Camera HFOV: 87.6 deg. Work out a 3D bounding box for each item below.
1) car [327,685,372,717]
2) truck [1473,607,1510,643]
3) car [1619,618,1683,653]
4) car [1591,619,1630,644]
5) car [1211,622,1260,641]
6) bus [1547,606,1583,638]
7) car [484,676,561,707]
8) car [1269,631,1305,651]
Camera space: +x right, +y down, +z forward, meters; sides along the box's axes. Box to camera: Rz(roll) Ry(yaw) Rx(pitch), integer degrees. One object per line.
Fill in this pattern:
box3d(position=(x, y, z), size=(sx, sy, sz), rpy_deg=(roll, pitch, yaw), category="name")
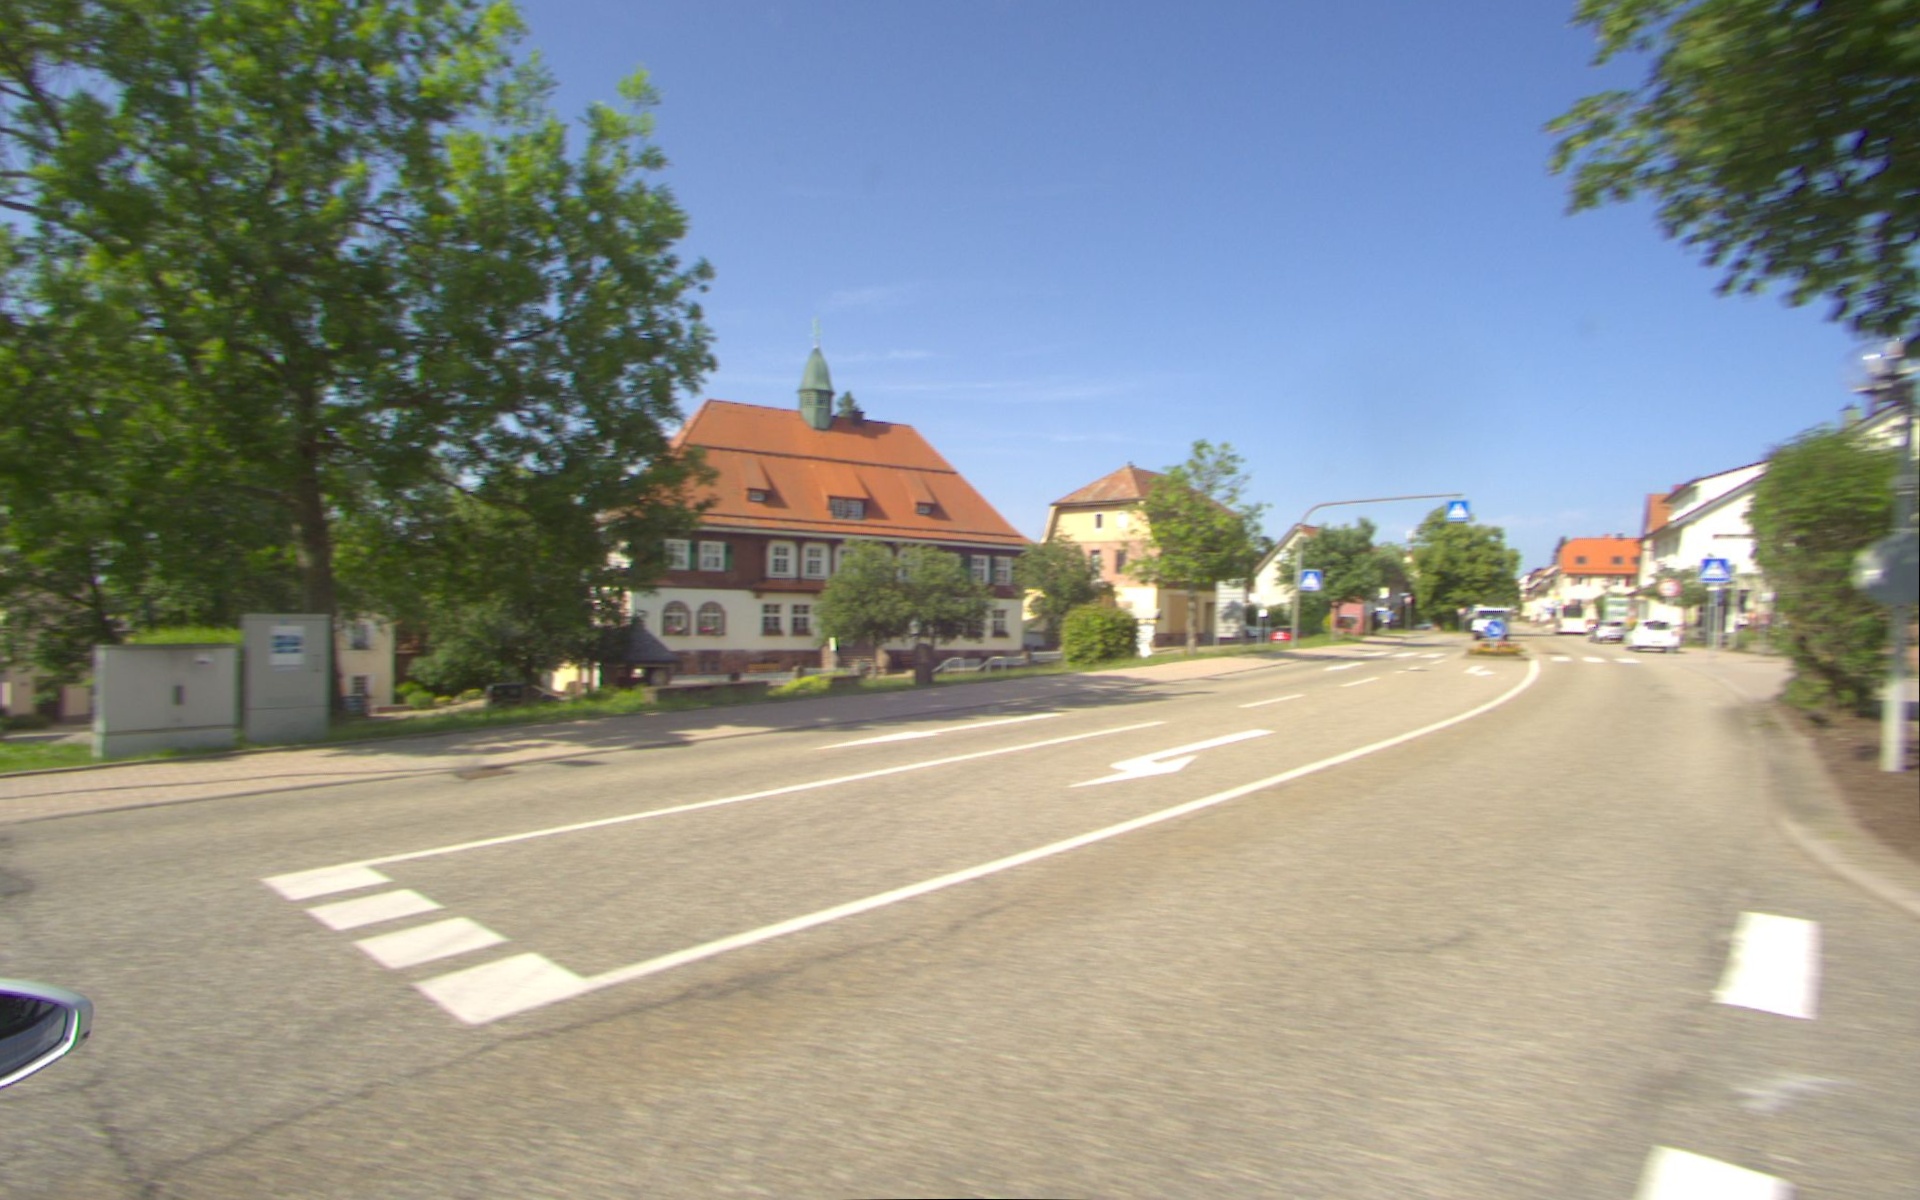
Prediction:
box3d(position=(-34.308, 5.653, 56.244), size=(1.694, 1.561, 3.757), rpy_deg=(-1, -2, -39), category="car")
box3d(position=(36.838, 1.697, 69.322), size=(1.971, 2.372, 6.463), rpy_deg=(0, -1, 31), category="truck")
box3d(position=(31.148, 1.603, 45.245), size=(1.748, 1.486, 3.702), rpy_deg=(-3, -3, 25), category="car")
box3d(position=(39.880, 1.943, 61.451), size=(1.751, 1.451, 3.696), rpy_deg=(-3, -3, 30), category="car")
box3d(position=(24.013, 2.775, 87.273), size=(3.664, 1.451, 1.766), rpy_deg=(-4, -3, 33), category="car")
box3d(position=(65.242, 2.498, 108.213), size=(2.676, 3.052, 15.165), rpy_deg=(-1, -3, 29), category="bus")
box3d(position=(-24.640, 5.147, 56.397), size=(3.732, 1.462, 1.705), rpy_deg=(-1, -2, -31), category="car")
box3d(position=(24.888, 3.121, 76.259), size=(1.751, 1.451, 3.695), rpy_deg=(-3, -3, 31), category="car")
